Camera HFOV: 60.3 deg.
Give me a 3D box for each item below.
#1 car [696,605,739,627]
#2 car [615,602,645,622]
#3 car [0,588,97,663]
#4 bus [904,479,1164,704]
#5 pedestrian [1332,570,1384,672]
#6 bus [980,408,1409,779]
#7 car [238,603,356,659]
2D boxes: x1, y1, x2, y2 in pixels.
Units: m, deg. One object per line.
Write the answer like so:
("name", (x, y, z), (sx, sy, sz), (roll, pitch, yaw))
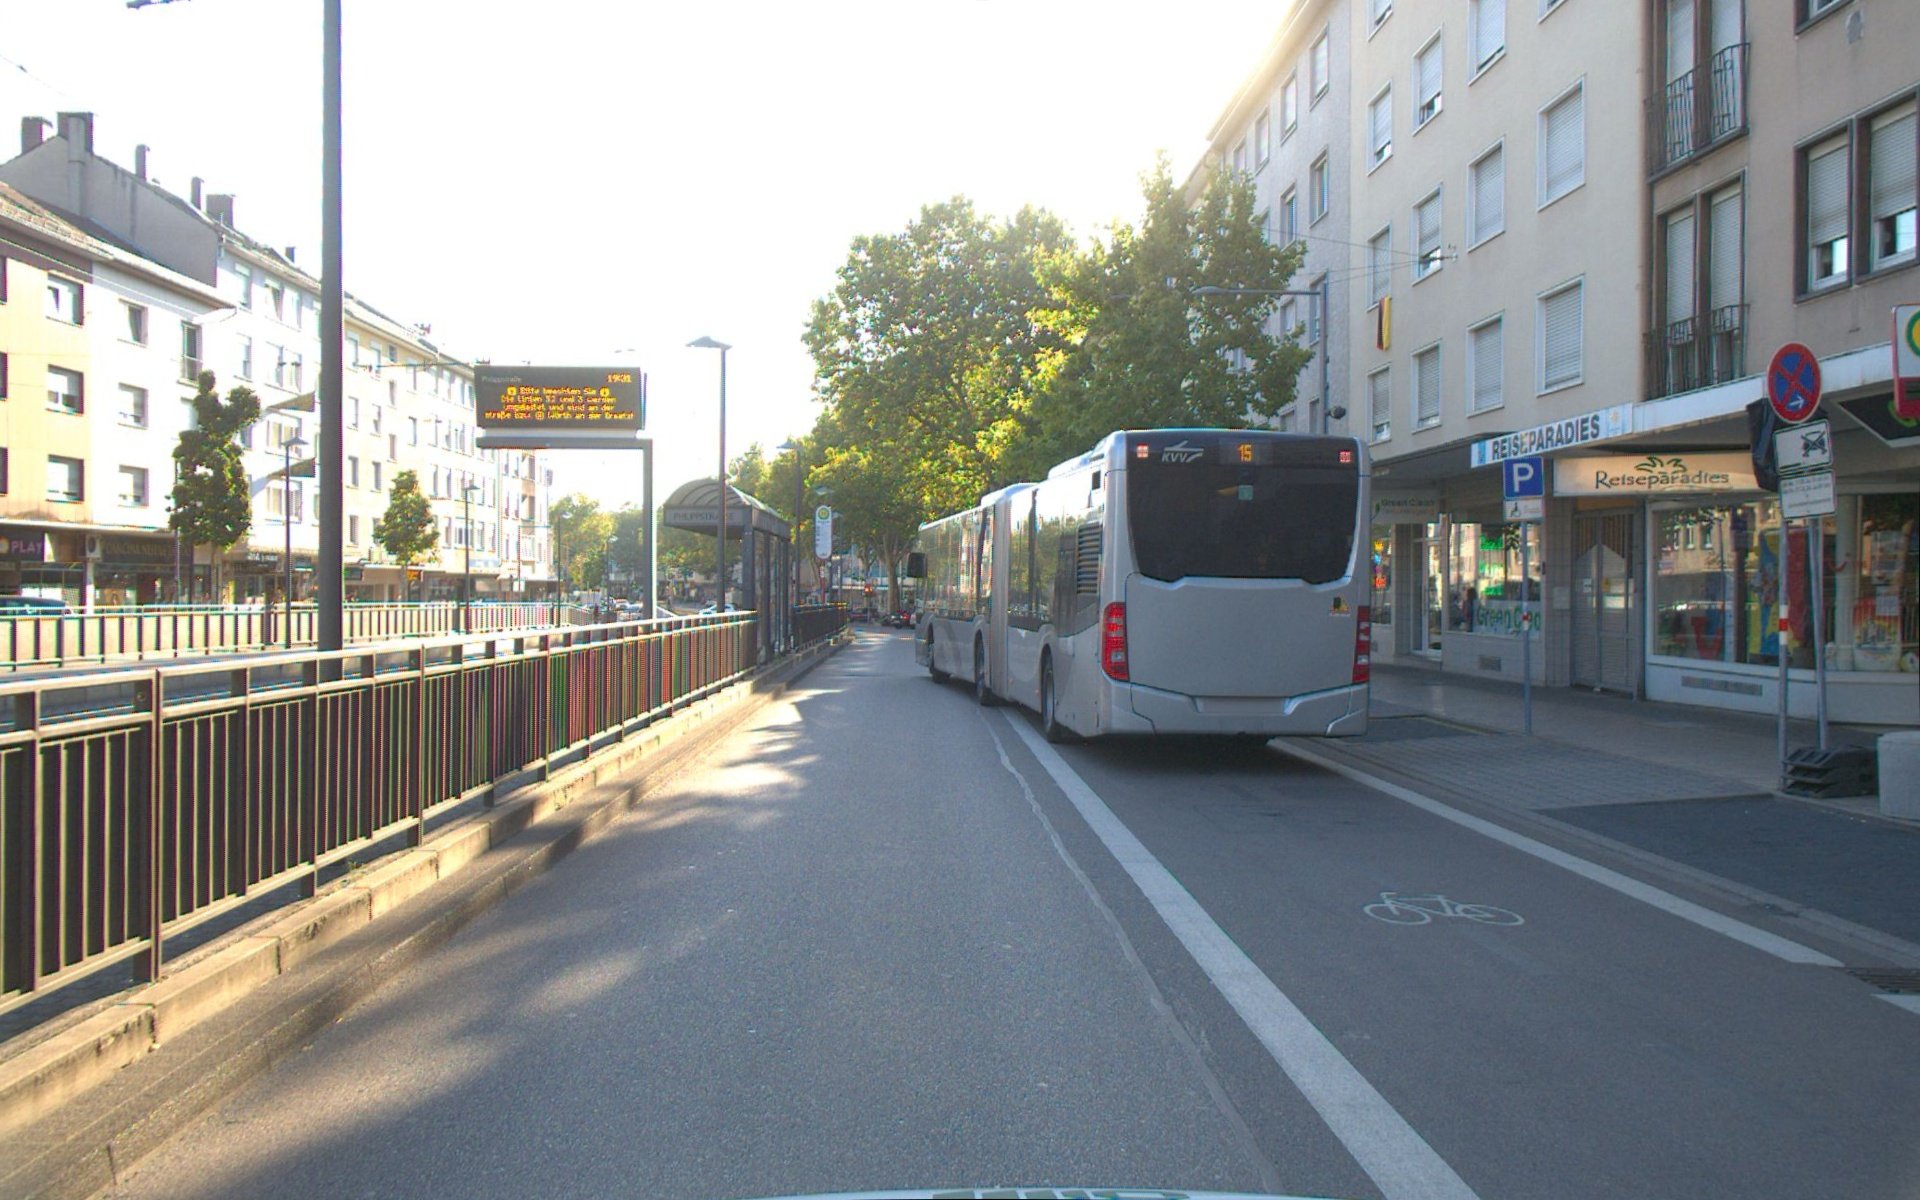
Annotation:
("car", (-22.861, 1.503, 155.971), (3.912, 2.049, 1.960), (0, 0, -8))
("car", (-29.020, 1.036, 145.582), (1.953, 1.680, 3.999), (-1, 0, -2))
("car", (-22.560, 0.593, 39.083), (1.740, 1.709, 3.489), (0, 0, 42))
("bus", (0.917, -0.150, 27.946), (2.647, 3.172, 9.051), (0, 0, -9))
("pedestrian", (7.253, 0.375, 30.175), (0.709, 1.827, 0.766), (-1, 0, -2))
("bus", (2.109, -0.087, 18.975), (2.645, 3.172, 9.369), (0, 0, -6))
("car", (-23.851, 1.078, 59.565), (1.740, 1.708, 3.490), (1, 4, 43))
